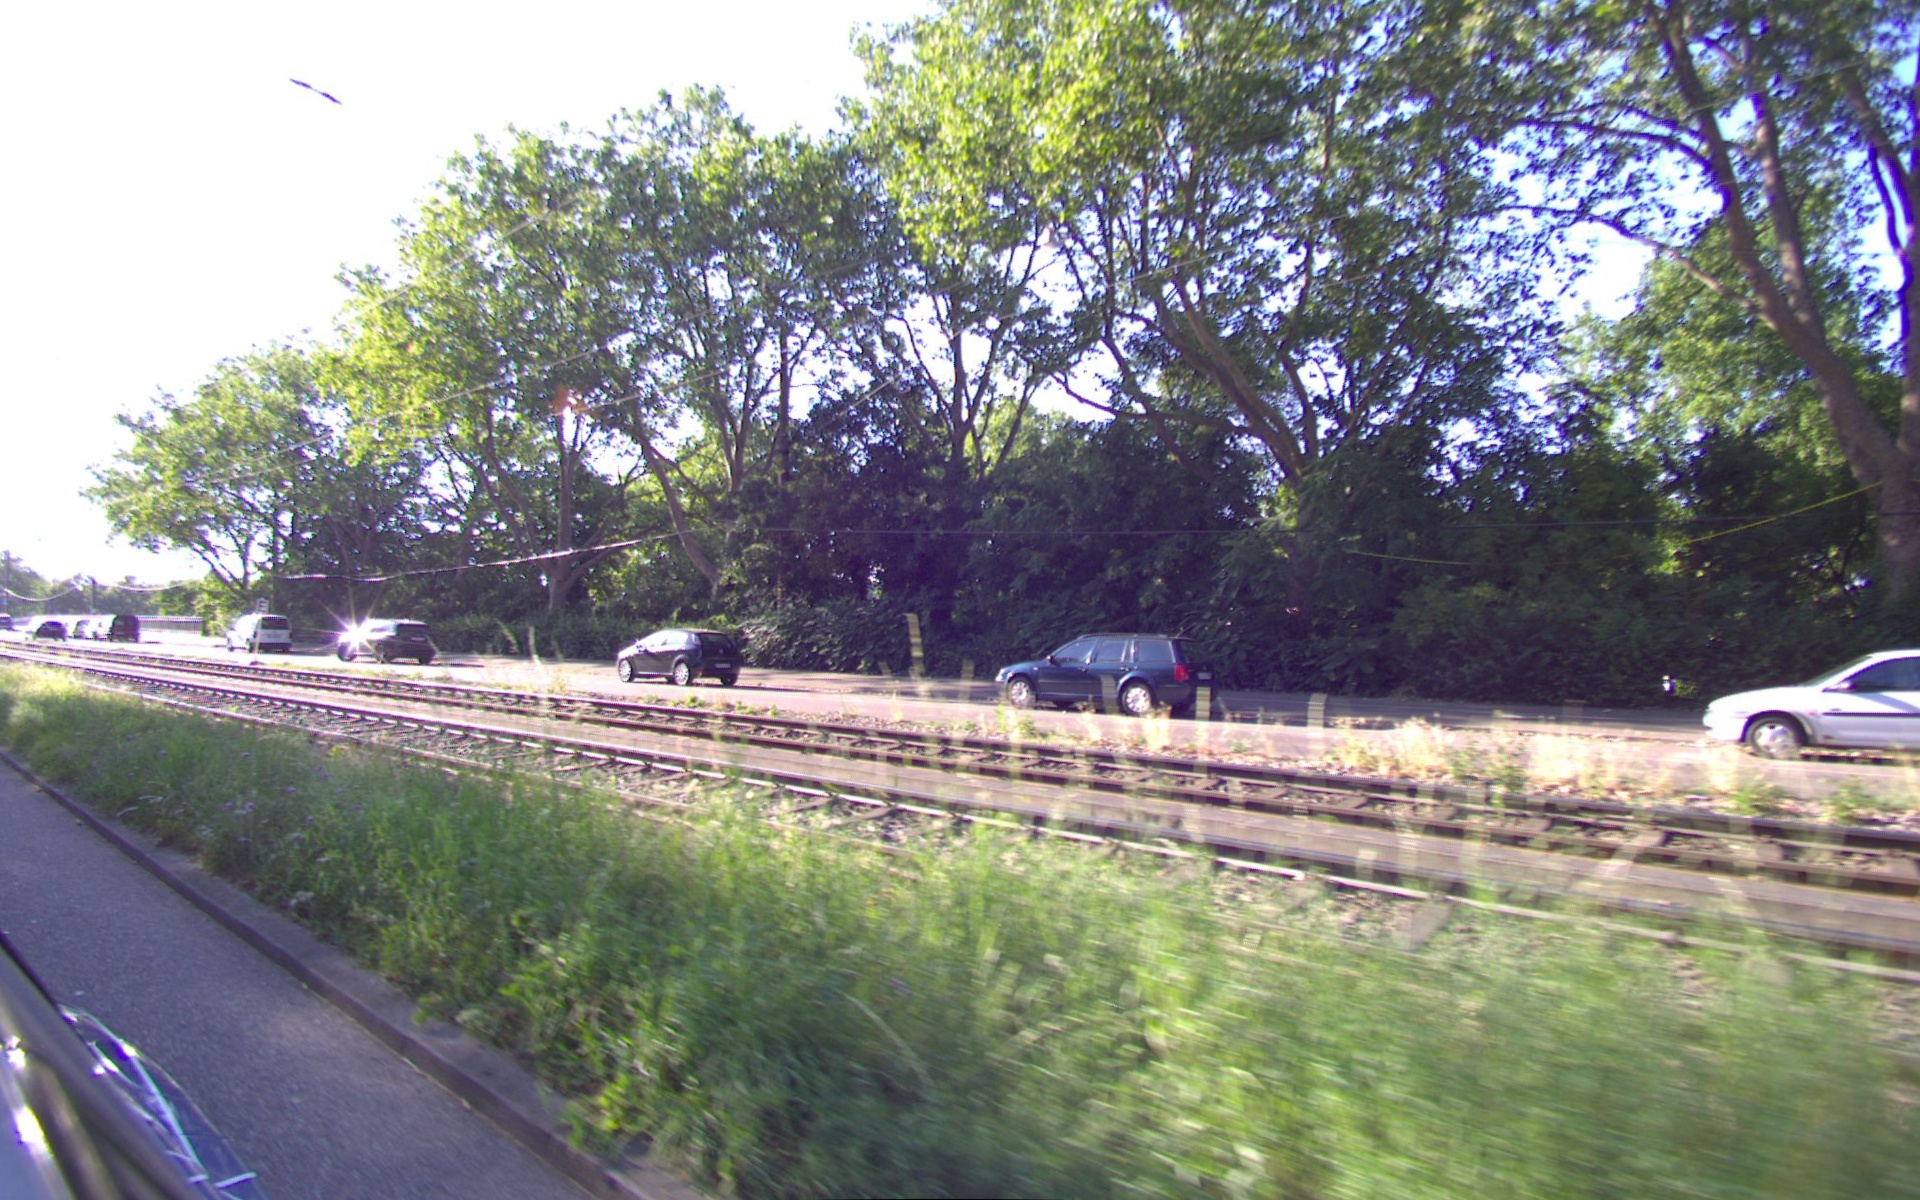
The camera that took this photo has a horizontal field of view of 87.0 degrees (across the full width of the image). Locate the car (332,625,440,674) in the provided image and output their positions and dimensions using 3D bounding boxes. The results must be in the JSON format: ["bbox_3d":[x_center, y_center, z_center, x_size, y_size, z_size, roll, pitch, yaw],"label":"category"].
[{"bbox_3d":[-22.214,1.891,39.103,4.382,1.732,1.812,0,-3,34],"label":"car"}]

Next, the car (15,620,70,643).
[{"bbox_3d":[-60.929,2.111,67.211,4.744,1.426,1.901,-1,-4,39],"label":"car"}]

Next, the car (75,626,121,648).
[{"bbox_3d":[-60.303,2.570,70.798,3.780,1.453,1.638,-1,-3,38],"label":"car"}]

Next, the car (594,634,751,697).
[{"bbox_3d":[-7.774,1.707,27.199,4.388,1.517,1.809,-1,-3,38],"label":"car"}]

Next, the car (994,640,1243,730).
[{"bbox_3d":[2.915,1.533,19.094,4.318,1.448,1.809,-1,-3,38],"label":"car"}]

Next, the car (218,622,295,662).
[{"bbox_3d":[-34.389,2.035,49.420,4.388,1.854,1.809,-1,-3,38],"label":"car"}]

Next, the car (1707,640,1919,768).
[{"bbox_3d":[11.577,1.257,12.426,3.846,1.448,1.722,-1,-3,38],"label":"car"}]

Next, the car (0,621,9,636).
[{"bbox_3d":[-96.488,2.833,101.120,3.922,1.511,1.637,-1,-3,40],"label":"car"}]

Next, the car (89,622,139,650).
[{"bbox_3d":[-56.178,2.374,67.195,3.894,1.753,1.713,-1,-3,38],"label":"car"}]

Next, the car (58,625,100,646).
[{"bbox_3d":[-64.609,2.580,74.193,3.781,1.453,1.638,-1,-3,39],"label":"car"}]
